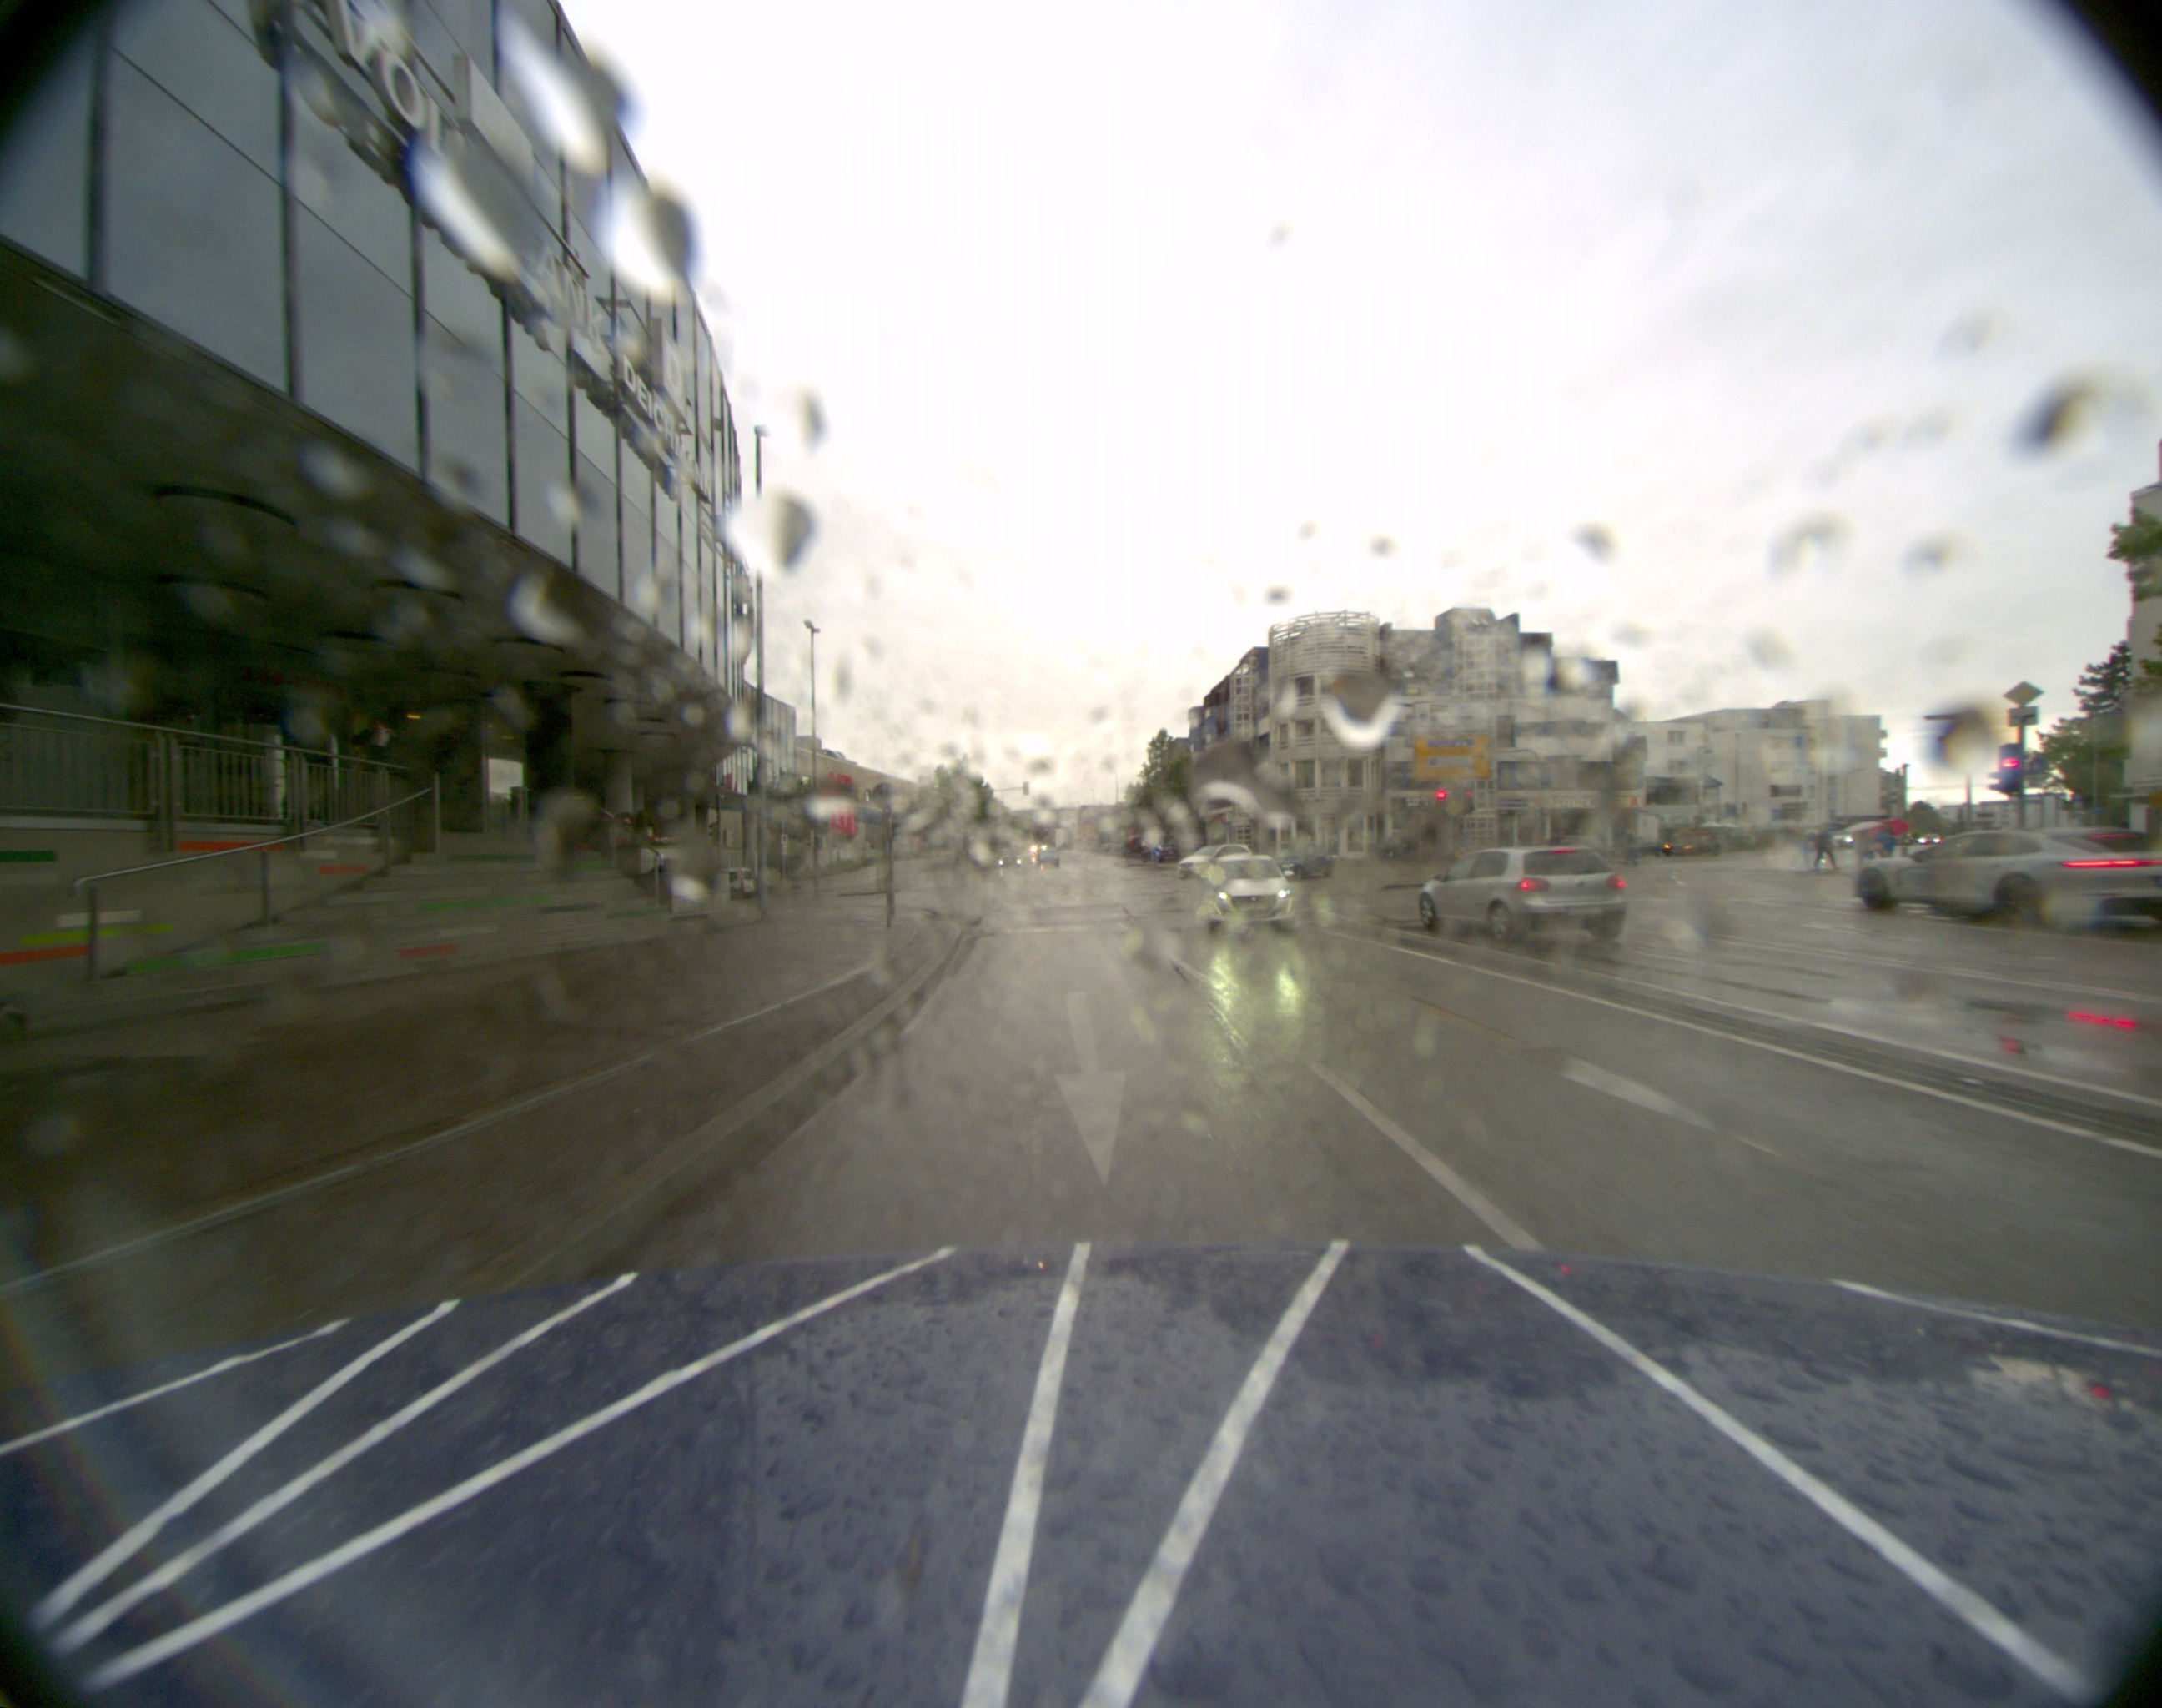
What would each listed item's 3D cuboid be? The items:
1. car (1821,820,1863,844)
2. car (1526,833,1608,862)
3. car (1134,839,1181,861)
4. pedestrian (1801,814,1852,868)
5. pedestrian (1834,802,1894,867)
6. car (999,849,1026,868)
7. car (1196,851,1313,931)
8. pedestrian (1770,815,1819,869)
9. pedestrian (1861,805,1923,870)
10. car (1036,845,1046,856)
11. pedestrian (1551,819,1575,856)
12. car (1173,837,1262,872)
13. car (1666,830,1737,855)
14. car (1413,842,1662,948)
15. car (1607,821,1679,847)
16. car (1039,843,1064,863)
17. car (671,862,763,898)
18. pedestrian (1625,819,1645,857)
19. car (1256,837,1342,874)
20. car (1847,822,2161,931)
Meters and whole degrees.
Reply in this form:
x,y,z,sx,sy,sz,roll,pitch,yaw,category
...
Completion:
x,y,z,sx,sy,sz,roll,pitch,yaw,category
68.381,-1.985,68.352,1.994,2.002,4.607,-1,1,36,car
26.711,-0.343,41.793,3.841,1.481,1.631,-1,0,-14,car
6.138,-0.370,61.534,1.904,1.518,3.988,-2,5,-27,car
26.795,-0.459,27.322,0.905,1.904,0.978,-1,1,8,pedestrian
24.668,-0.608,23.966,0.905,2.002,0.978,-1,1,8,pedestrian
-5.615,0.339,62.356,1.900,1.517,3.999,-1,1,-1,car
3.570,0.701,16.311,1.876,1.453,3.874,-2,1,4,car
25.774,-0.427,27.469,0.905,1.904,0.978,-1,1,8,pedestrian
25.606,-0.513,24.007,0.905,2.002,0.978,-1,1,8,pedestrian
-6.548,-0.558,124.657,1.583,1.630,3.640,-1,1,-1,car
23.524,-0.799,37.106,0.837,1.733,0.585,-2,1,15,pedestrian
6.860,0.006,38.055,4.333,1.540,1.759,-3,1,-35,car
43.929,-0.814,53.843,3.896,1.710,1.746,-1,1,-9,car
7.221,0.580,12.567,1.762,1.443,4.000,-1,0,1,car
38.294,-1.345,51.789,3.896,1.710,1.746,-1,1,-9,car
-2.356,-0.069,61.552,1.900,1.517,3.999,-1,1,-1,car
-20.348,1.424,42.585,4.111,1.749,2.000,-3,0,0,car
25.562,-0.727,35.070,0.682,1.733,0.586,-1,2,34,pedestrian
9.525,0.052,33.057,3.920,1.534,1.673,-1,0,-40,car
15.045,0.245,12.208,1.759,1.419,4.893,-1,1,17,car
